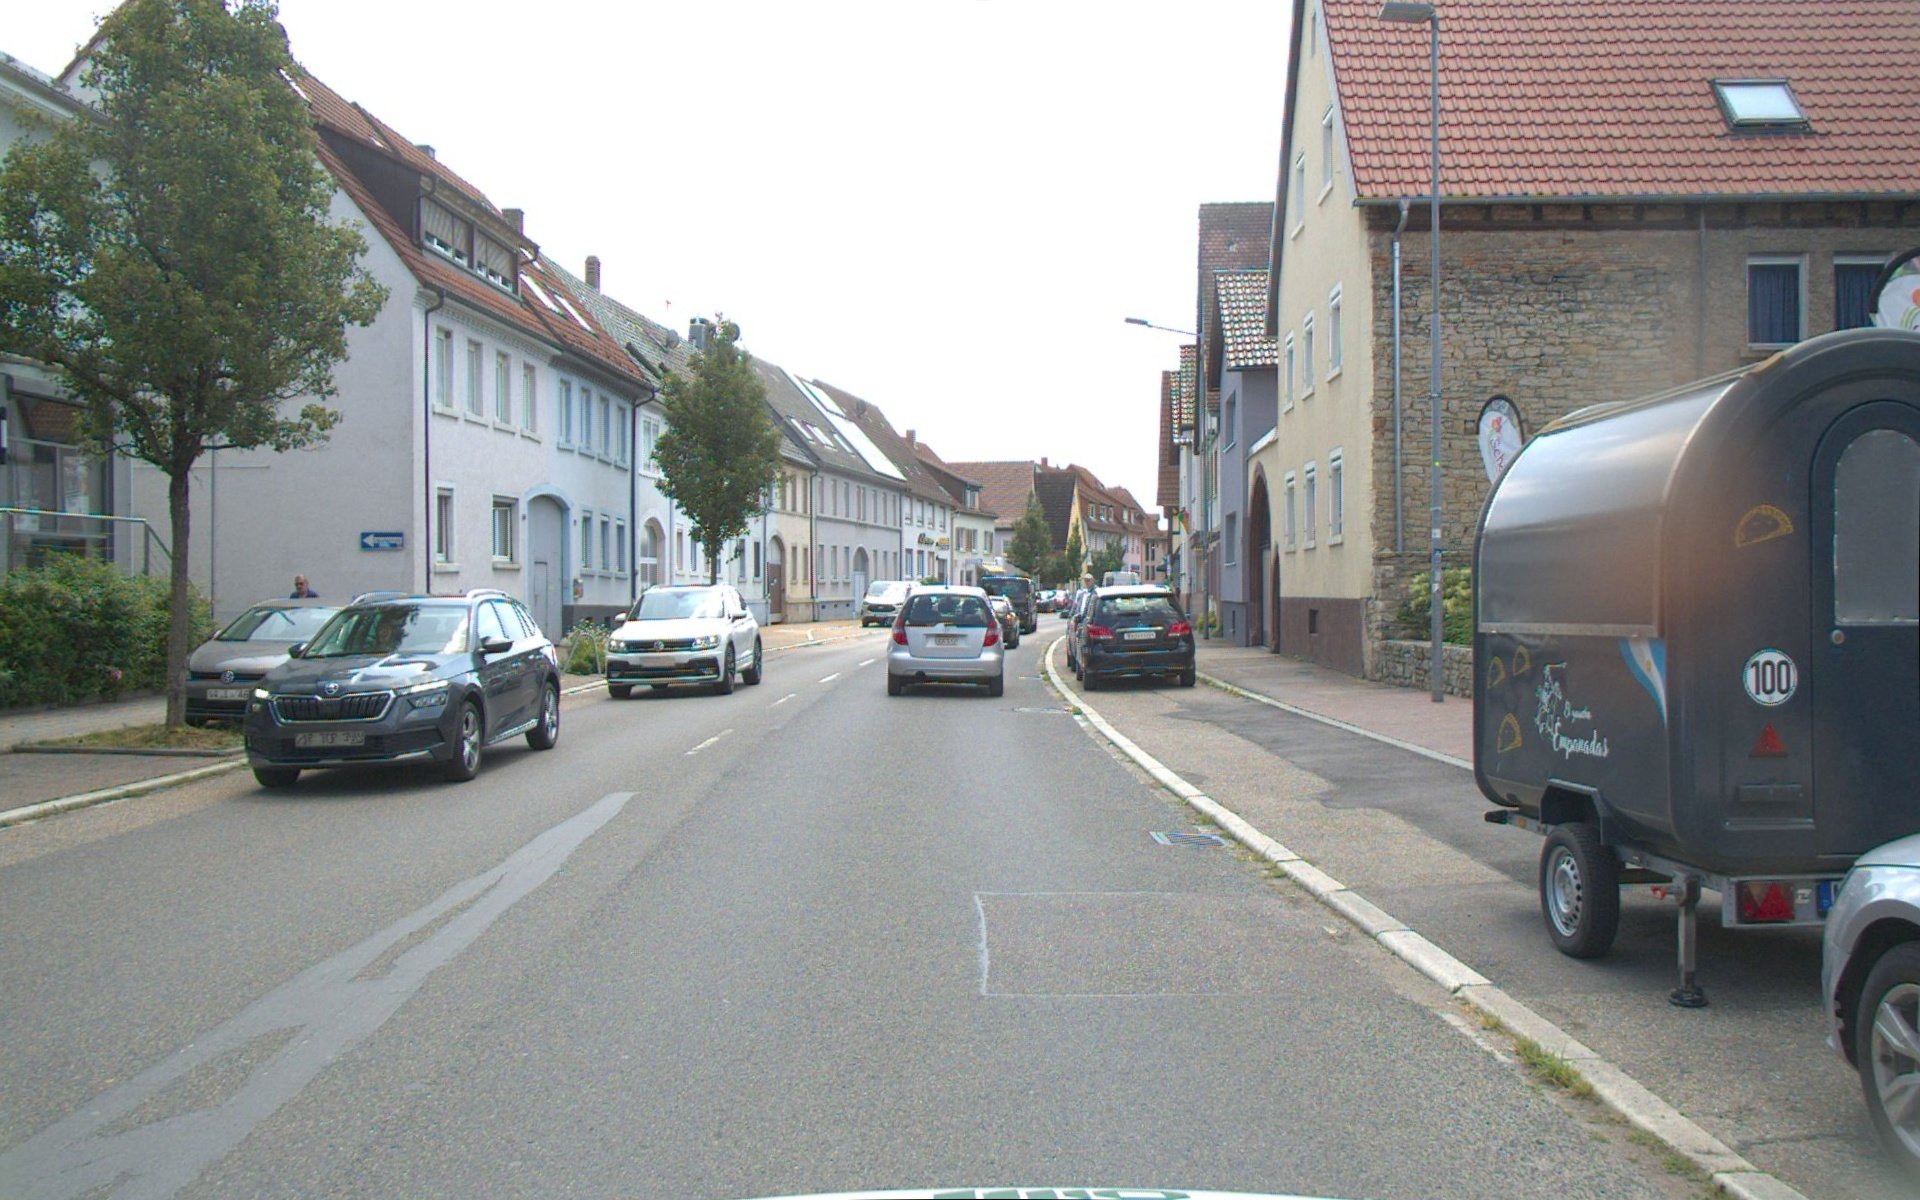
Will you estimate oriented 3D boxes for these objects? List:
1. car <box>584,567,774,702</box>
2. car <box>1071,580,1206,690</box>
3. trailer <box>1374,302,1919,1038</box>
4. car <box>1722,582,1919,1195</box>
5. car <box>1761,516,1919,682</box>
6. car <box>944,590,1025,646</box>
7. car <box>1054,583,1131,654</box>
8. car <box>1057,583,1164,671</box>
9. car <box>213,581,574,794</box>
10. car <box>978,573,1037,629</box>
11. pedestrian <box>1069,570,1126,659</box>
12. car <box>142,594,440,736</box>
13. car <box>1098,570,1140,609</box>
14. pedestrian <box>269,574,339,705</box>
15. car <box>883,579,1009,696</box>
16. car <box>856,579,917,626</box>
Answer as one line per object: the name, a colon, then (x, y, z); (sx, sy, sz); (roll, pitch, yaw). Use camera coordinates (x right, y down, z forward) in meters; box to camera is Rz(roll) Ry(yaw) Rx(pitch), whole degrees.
car: (-4.253, 0.472, 25.828); (1.914, 1.815, 4.653); (-3, 0, 2)
car: (2.807, 0.502, 26.680); (1.952, 1.586, 4.002); (-2, 0, 4)
trailer: (3.280, 0.199, 7.247); (1.808, 2.395, 3.587); (-1, 0, -4)
car: (3.348, 0.703, 2.710); (1.838, 1.507, 4.671); (-1, 0, -3)
car: (13.124, -0.037, 21.060); (4.953, 1.984, 1.998); (-1, 0, -5)
car: (0.726, 0.499, 45.909); (1.904, 1.432, 4.002); (2, 0, 5)
car: (3.360, 0.455, 41.826); (1.821, 1.654, 4.199); (-1, -1, 5)
car: (2.871, 0.508, 32.299); (1.822, 1.558, 4.197); (-1, -1, 2)
car: (-4.754, 0.644, 14.523); (1.707, 1.553, 4.020); (-2, 0, 0)
car: (1.781, 0.054, 60.653); (1.731, 1.921, 4.450); (2, 0, 6)
pedestrian: (2.951, 0.300, 35.431); (1.072, 1.853, 1.471); (-1, 0, 10)
car: (-7.760, 0.680, 19.649); (1.767, 1.486, 4.159); (0, 0, 1)
car: (9.762, -0.630, 101.186); (2.188, 2.261, 4.003); (-1, -1, 10)
pedestrian: (-9.358, 0.557, 23.608); (0.724, 1.833, 0.642); (-1, -1, -2)
car: (-0.139, 0.549, 25.632); (1.732, 1.622, 4.001); (2, 0, 2)
car: (-3.122, 0.096, 71.107); (2.047, 1.917, 4.003); (-1, 0, 5)
